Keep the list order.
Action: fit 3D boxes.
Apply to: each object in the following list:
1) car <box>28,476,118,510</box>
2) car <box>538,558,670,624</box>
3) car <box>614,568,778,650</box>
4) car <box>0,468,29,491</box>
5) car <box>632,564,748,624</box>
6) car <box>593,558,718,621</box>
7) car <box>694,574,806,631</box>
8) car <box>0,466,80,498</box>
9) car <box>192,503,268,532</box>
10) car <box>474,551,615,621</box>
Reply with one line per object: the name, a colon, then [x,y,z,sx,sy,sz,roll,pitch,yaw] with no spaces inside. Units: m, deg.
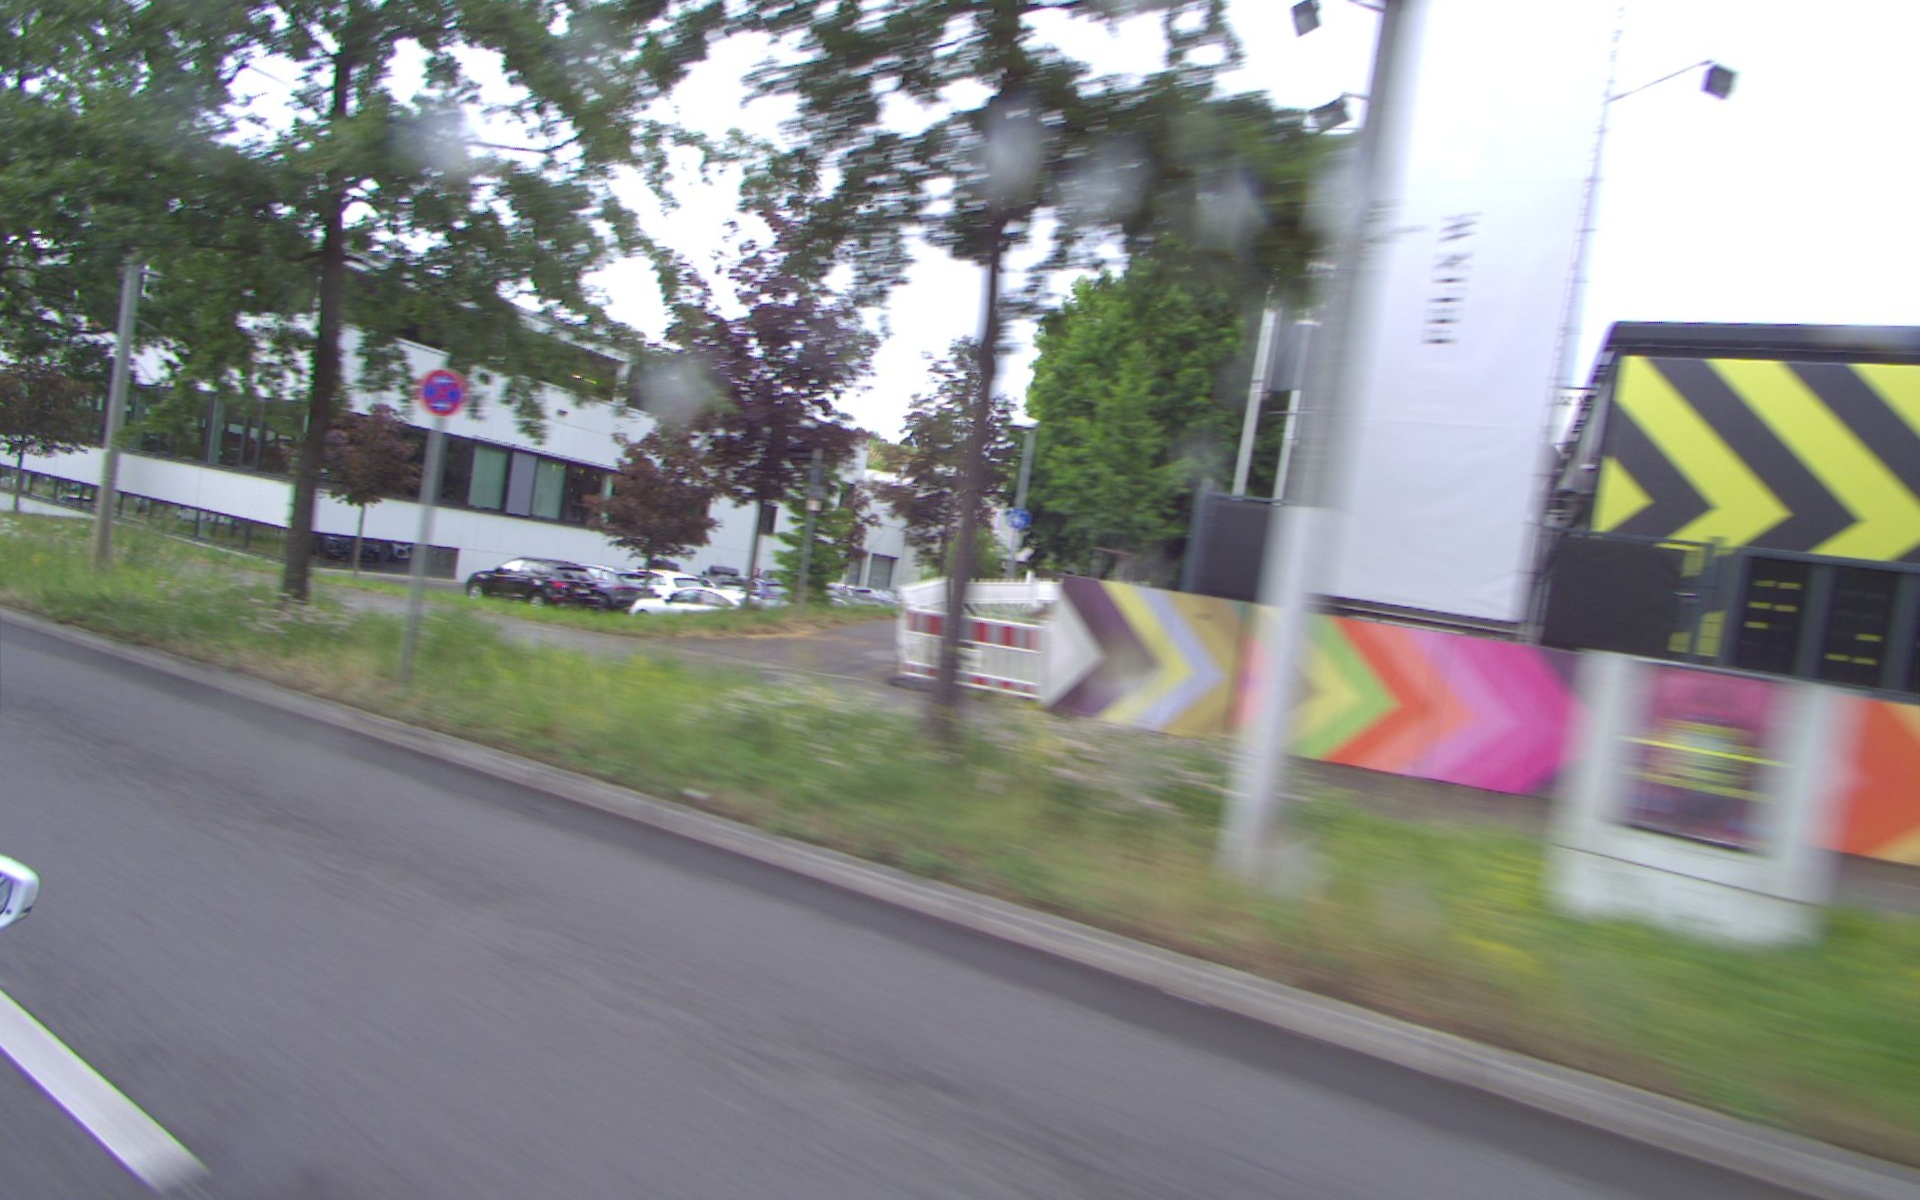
car: [-58.208,-6.997,66.042,1.968,1.370,3.992,7,-2,34]
car: [-11.594,-0.298,32.739,3.941,1.563,1.866,7,-1,32]
car: [-7.181,0.242,27.336,3.939,1.662,1.868,7,-1,28]
car: [-69.542,-8.890,71.926,1.968,1.370,3.992,7,-2,34]
car: [-10.064,-0.219,37.461,3.942,1.662,1.866,7,-1,32]
car: [-10.640,-0.375,35.096,3.941,1.662,1.866,7,-1,32]
car: [-8.216,0.097,39.291,3.941,1.662,1.866,7,-1,32]
car: [-63.393,-8.120,69.077,1.968,1.370,3.992,7,-2,34]
car: [-53.111,-6.013,73.228,1.968,1.370,3.992,7,-2,34]
car: [-12.611,-0.443,30.519,3.941,1.563,1.866,7,-1,32]
